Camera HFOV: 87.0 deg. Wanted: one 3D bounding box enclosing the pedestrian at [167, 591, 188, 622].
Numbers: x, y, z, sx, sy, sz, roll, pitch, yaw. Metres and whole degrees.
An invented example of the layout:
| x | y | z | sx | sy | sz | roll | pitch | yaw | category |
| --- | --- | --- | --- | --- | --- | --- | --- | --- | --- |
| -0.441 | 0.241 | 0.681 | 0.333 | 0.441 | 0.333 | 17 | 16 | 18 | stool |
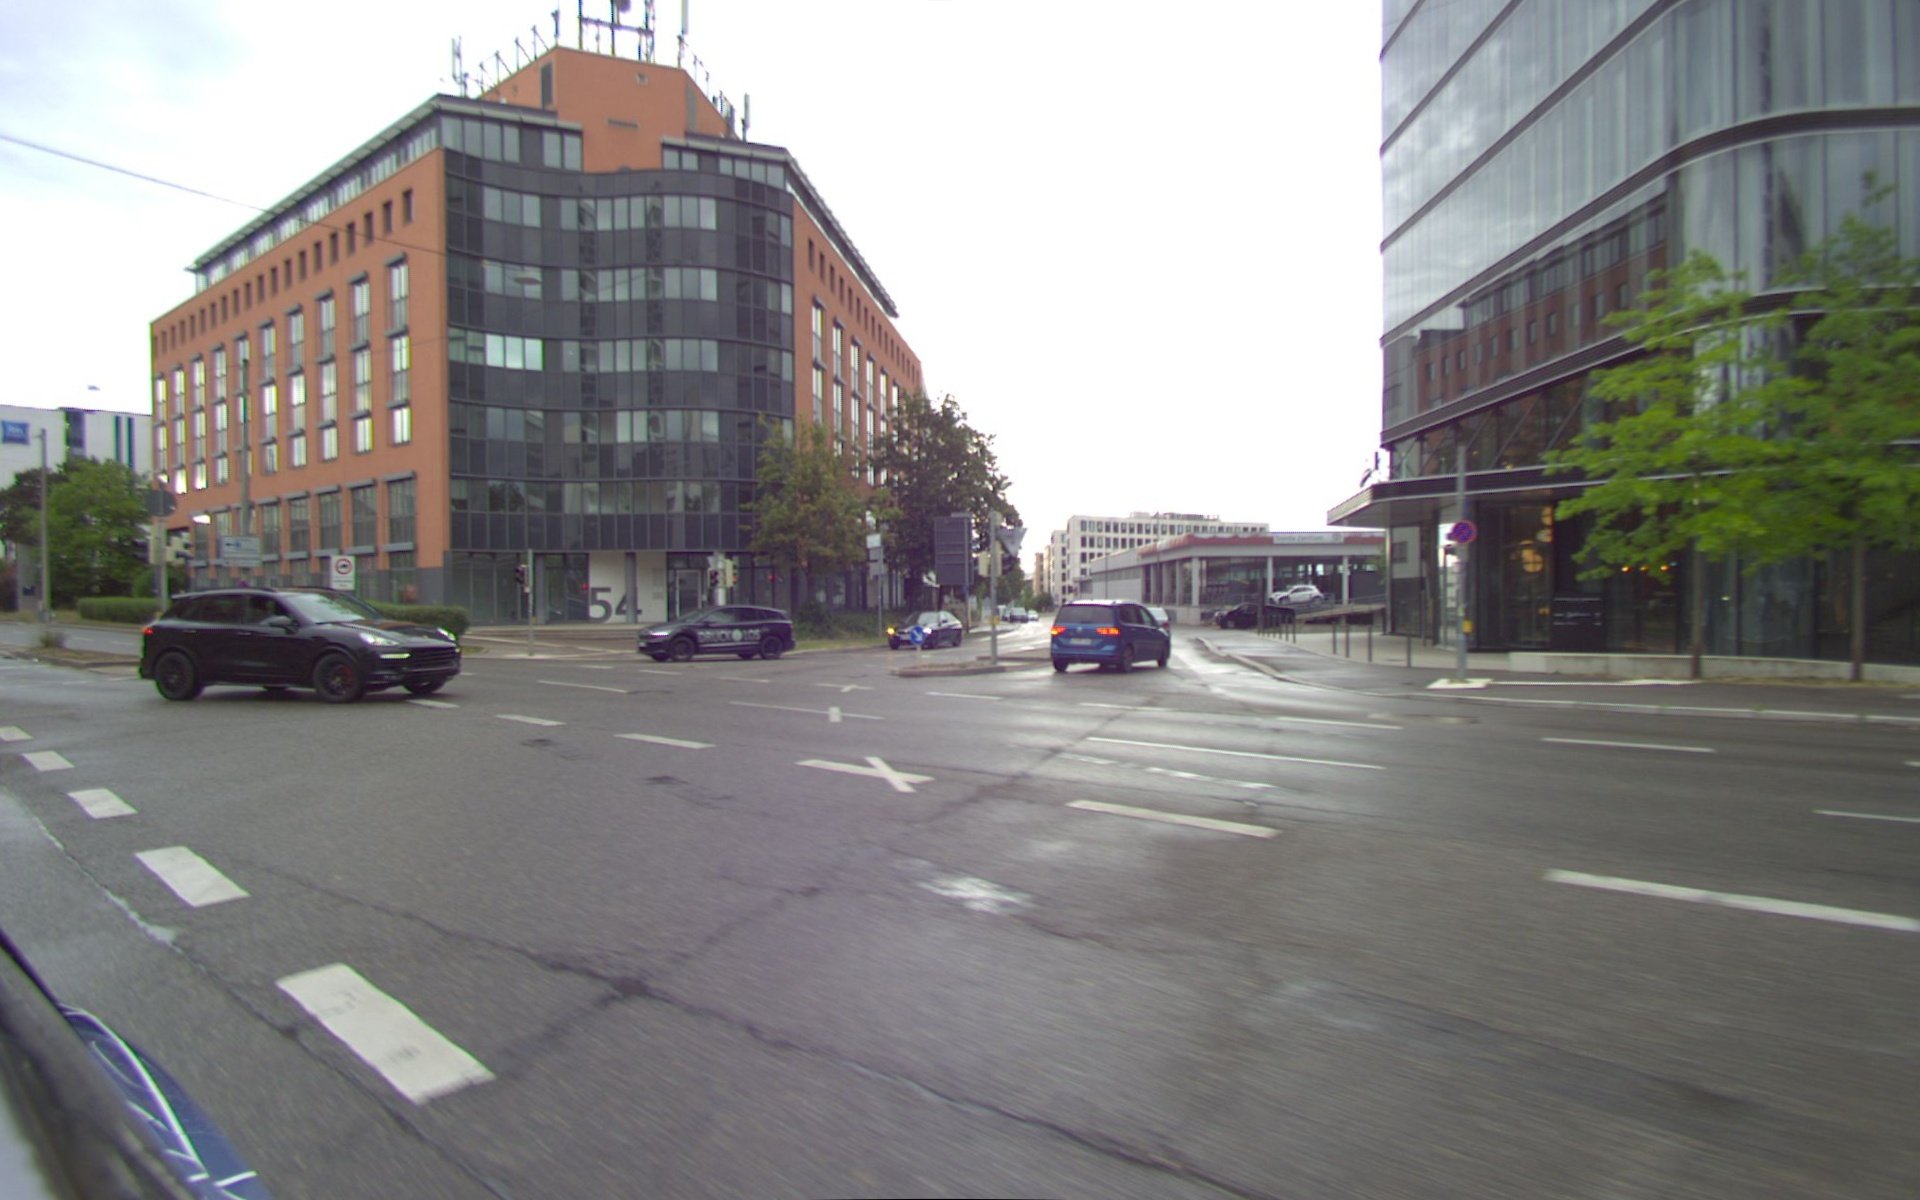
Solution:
| x | y | z | sx | sy | sz | roll | pitch | yaw | category |
| --- | --- | --- | --- | --- | --- | --- | --- | --- | --- |
| -47.027 | 0.388 | 60.843 | 0.884 | 1.854 | 0.739 | 0 | 2 | 38 | pedestrian |

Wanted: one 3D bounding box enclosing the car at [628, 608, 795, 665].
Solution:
| x | y | z | sx | sy | sz | roll | pitch | yaw | category |
| --- | --- | --- | --- | --- | --- | --- | --- | --- | --- |
| -7.114 | 1.033 | 29.215 | 4.304 | 1.522 | 1.859 | 1 | -2 | -41 | car |

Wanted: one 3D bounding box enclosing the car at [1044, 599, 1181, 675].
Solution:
| x | y | z | sx | sy | sz | roll | pitch | yaw | category |
| --- | --- | --- | --- | --- | --- | --- | --- | --- | --- |
| 3.667 | 0.828 | 23.744 | 1.771 | 1.608 | 4.153 | 0 | -1 | 31 | car |

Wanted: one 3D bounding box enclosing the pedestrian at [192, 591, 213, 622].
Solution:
| x | y | z | sx | sy | sz | roll | pitch | yaw | category |
| --- | --- | --- | --- | --- | --- | --- | --- | --- | --- |
| -45.924 | 0.369 | 61.368 | 0.884 | 1.854 | 0.739 | 0 | 2 | 38 | pedestrian |

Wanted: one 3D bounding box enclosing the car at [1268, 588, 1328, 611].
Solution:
| x | y | z | sx | sy | sz | roll | pitch | yaw | category |
| --- | --- | --- | --- | --- | --- | --- | --- | --- | --- |
| 24.537 | -0.044 | 73.532 | 3.765 | 1.662 | 1.816 | 0 | 0 | 3 | car |

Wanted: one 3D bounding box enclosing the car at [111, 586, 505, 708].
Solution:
| x | y | z | sx | sy | sz | roll | pitch | yaw | category |
| --- | --- | --- | --- | --- | --- | --- | --- | --- | --- |
| -9.942 | 0.662 | 15.521 | 5.373 | 1.678 | 1.991 | 0 | 0 | 15 | car |

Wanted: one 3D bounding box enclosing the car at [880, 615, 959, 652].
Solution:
| x | y | z | sx | sy | sz | roll | pitch | yaw | category |
| --- | --- | --- | --- | --- | --- | --- | --- | --- | --- |
| -1.495 | 1.255 | 39.123 | 1.837 | 1.373 | 3.976 | 0 | -1 | 18 | car |

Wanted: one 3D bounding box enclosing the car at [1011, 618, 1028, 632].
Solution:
| x | y | z | sx | sy | sz | roll | pitch | yaw | category |
| --- | --- | --- | --- | --- | --- | --- | --- | --- | --- |
| 6.299 | 2.647 | 107.752 | 1.776 | 1.522 | 3.997 | -1 | -1 | 3 | car |

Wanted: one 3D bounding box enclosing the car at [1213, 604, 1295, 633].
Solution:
| x | y | z | sx | sy | sz | roll | pitch | yaw | category |
| --- | --- | --- | --- | --- | --- | --- | --- | --- | --- |
| 19.246 | 1.190 | 66.383 | 4.942 | 1.829 | 1.794 | 1 | -1 | 7 | car |
